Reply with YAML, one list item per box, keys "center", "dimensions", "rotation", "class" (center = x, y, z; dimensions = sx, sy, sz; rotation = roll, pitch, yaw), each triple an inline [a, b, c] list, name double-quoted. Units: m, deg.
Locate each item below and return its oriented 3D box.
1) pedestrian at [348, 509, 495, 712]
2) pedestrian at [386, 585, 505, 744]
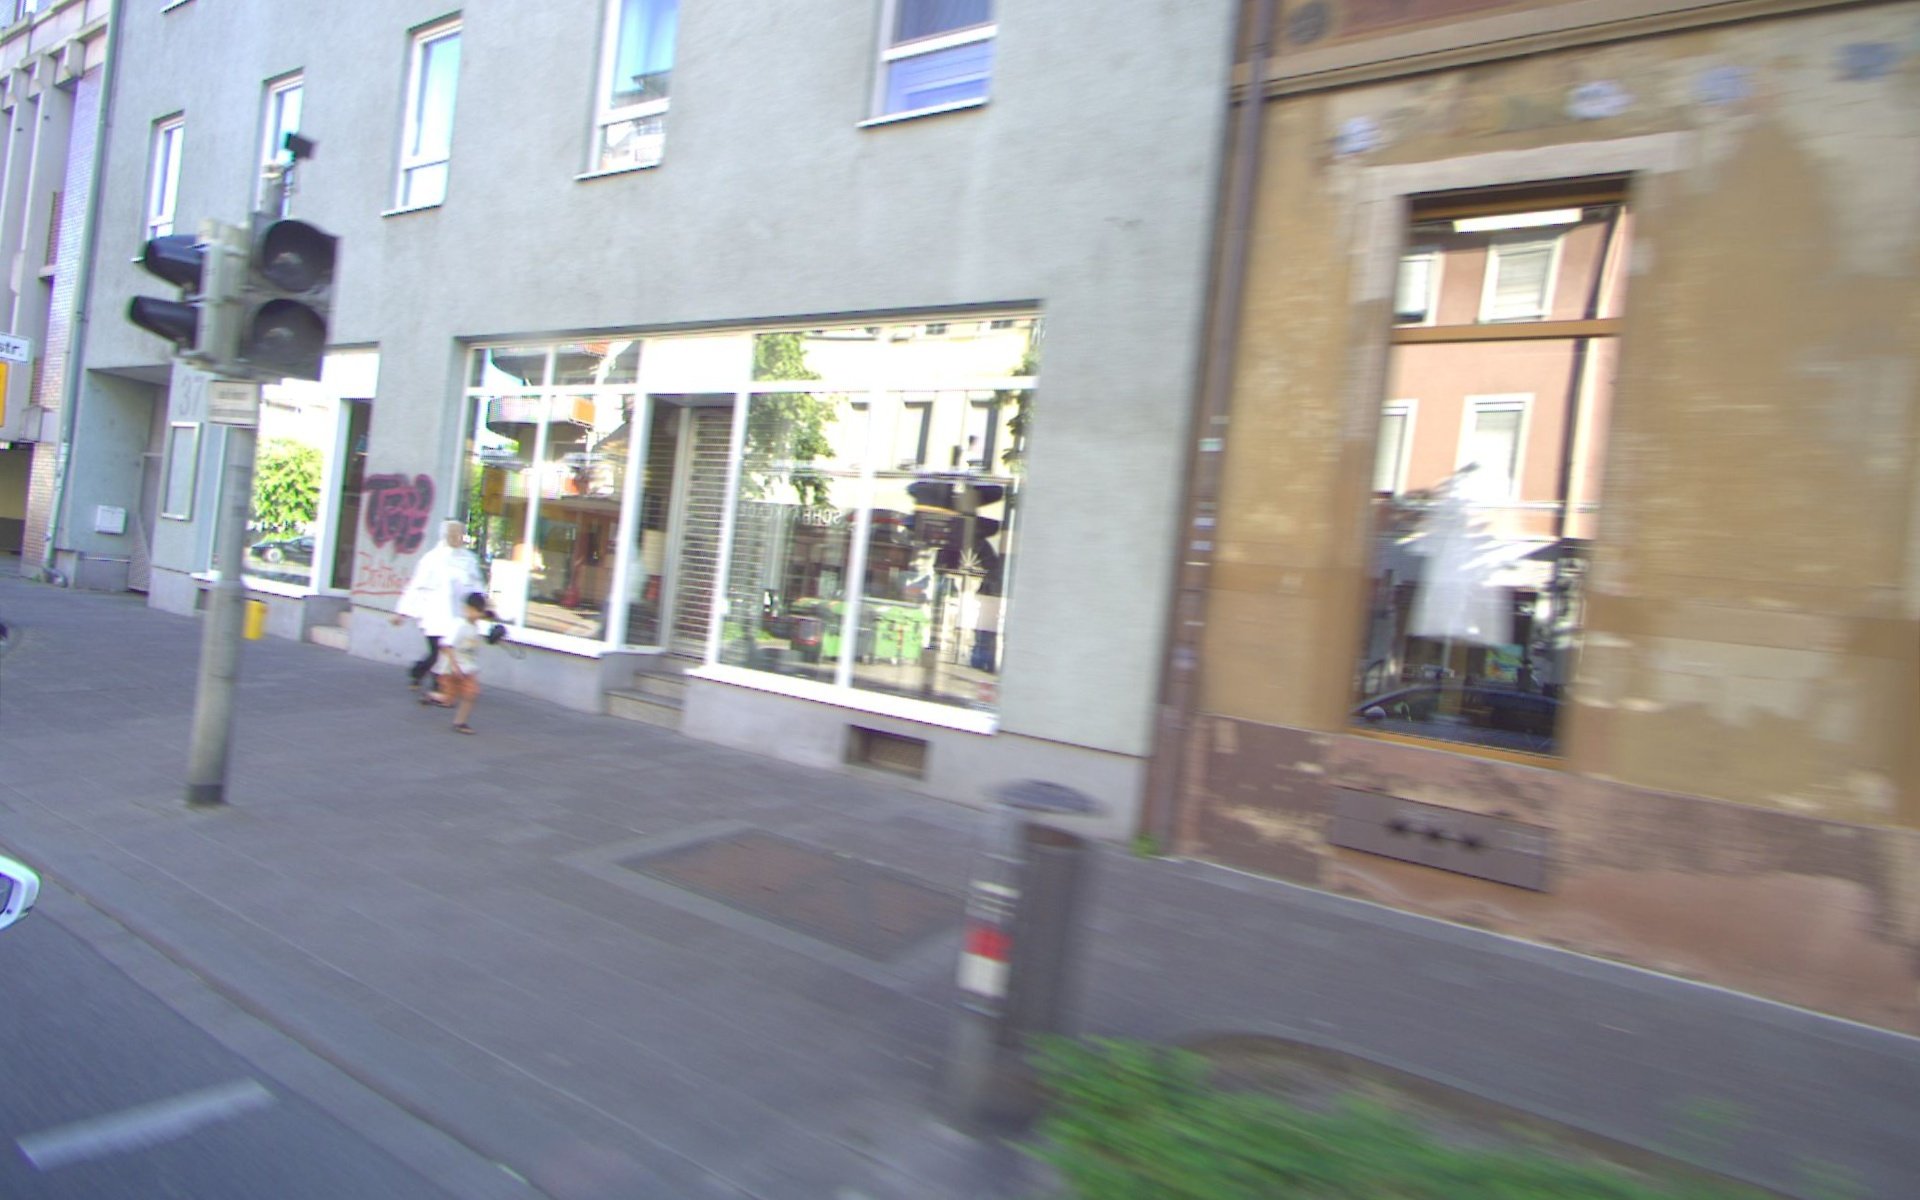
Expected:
- center: [-4.570, 0.071, 8.527]
  dimensions: [1.003, 1.580, 0.580]
  rotation: [7, 3, 30]
  class: "pedestrian"
- center: [-3.767, 0.452, 7.358]
  dimensions: [0.727, 1.047, 0.393]
  rotation: [7, 3, 30]
  class: "pedestrian"
